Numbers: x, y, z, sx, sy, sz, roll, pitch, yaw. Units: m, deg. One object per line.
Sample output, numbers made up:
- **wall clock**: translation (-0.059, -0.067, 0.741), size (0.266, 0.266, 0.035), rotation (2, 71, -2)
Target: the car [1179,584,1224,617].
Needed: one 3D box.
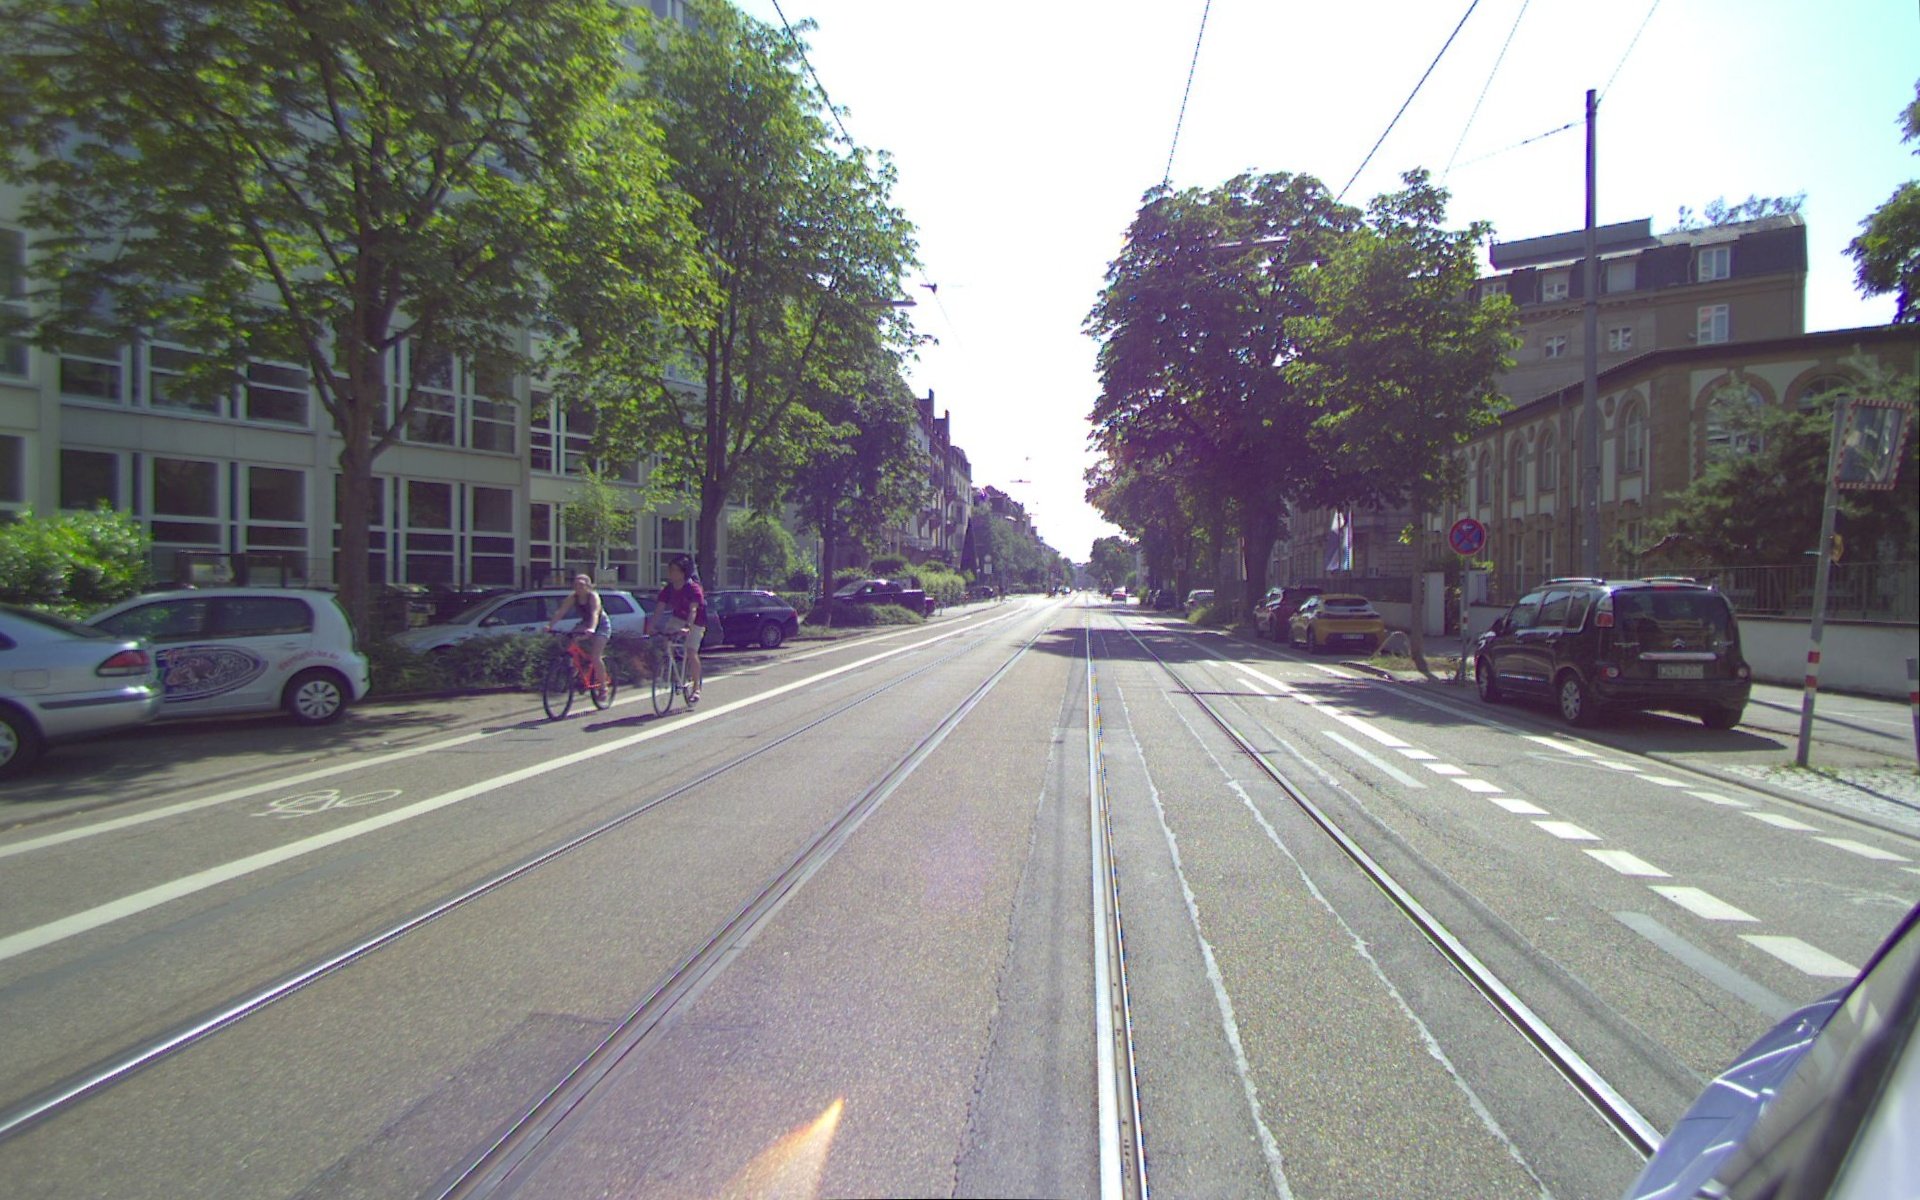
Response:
- **car**: translation (12.779, 0.005, 53.779), size (1.824, 1.701, 3.994), rotation (0, 1, 6)

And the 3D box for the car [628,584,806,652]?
- **car**: translation (-5.771, 0.383, 24.231), size (3.873, 1.505, 1.557), rotation (-1, 1, -38)

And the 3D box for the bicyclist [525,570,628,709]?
- **bicyclist**: translation (-4.469, 0.436, 11.831), size (0.792, 1.562, 0.861), rotation (0, 0, 11)

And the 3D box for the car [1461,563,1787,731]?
- **car**: translation (7.819, 0.457, 12.432), size (1.826, 1.705, 3.990), rotation (0, 1, 9)

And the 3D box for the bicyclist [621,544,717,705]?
- **bicyclist**: translation (-3.435, 0.277, 11.985), size (0.792, 1.824, 0.861), rotation (0, 0, 11)

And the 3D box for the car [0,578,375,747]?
- **car**: translation (-8.428, 0.553, 10.530), size (3.873, 1.504, 1.612), rotation (-2, 1, -37)

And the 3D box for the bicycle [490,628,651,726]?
- **bicycle**: translation (-4.470, 0.843, 11.831), size (0.669, 0.928, 2.314), rotation (0, 1, 10)

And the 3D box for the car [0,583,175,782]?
- **car**: translation (-8.513, 0.627, 7.763), size (3.871, 1.505, 1.613), rotation (-1, 1, -36)

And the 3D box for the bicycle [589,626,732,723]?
- **bicycle**: translation (-3.448, 0.819, 11.912), size (0.669, 0.928, 2.314), rotation (0, 1, 10)

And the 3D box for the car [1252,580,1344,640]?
- **car**: translation (10.192, 0.272, 30.831), size (1.824, 1.701, 3.994), rotation (0, 1, 6)

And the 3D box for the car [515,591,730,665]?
- **car**: translation (-6.802, 0.502, 20.597), size (3.873, 1.374, 1.557), rotation (-1, 1, -38)

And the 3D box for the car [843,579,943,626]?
- **car**: translation (-2.803, 0.078, 42.907), size (1.994, 1.883, 3.936), rotation (0, 1, 45)

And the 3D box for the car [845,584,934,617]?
- **car**: translation (-3.447, 0.009, 49.861), size (3.927, 1.527, 1.998), rotation (-1, 1, -38)

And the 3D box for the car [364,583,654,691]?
- **car**: translation (-7.579, 0.539, 17.262), size (4.269, 1.624, 1.556), rotation (-1, 0, -41)

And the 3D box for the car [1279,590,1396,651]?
- **car**: translation (9.484, 0.459, 25.765), size (1.824, 1.429, 3.994), rotation (0, 1, 6)
